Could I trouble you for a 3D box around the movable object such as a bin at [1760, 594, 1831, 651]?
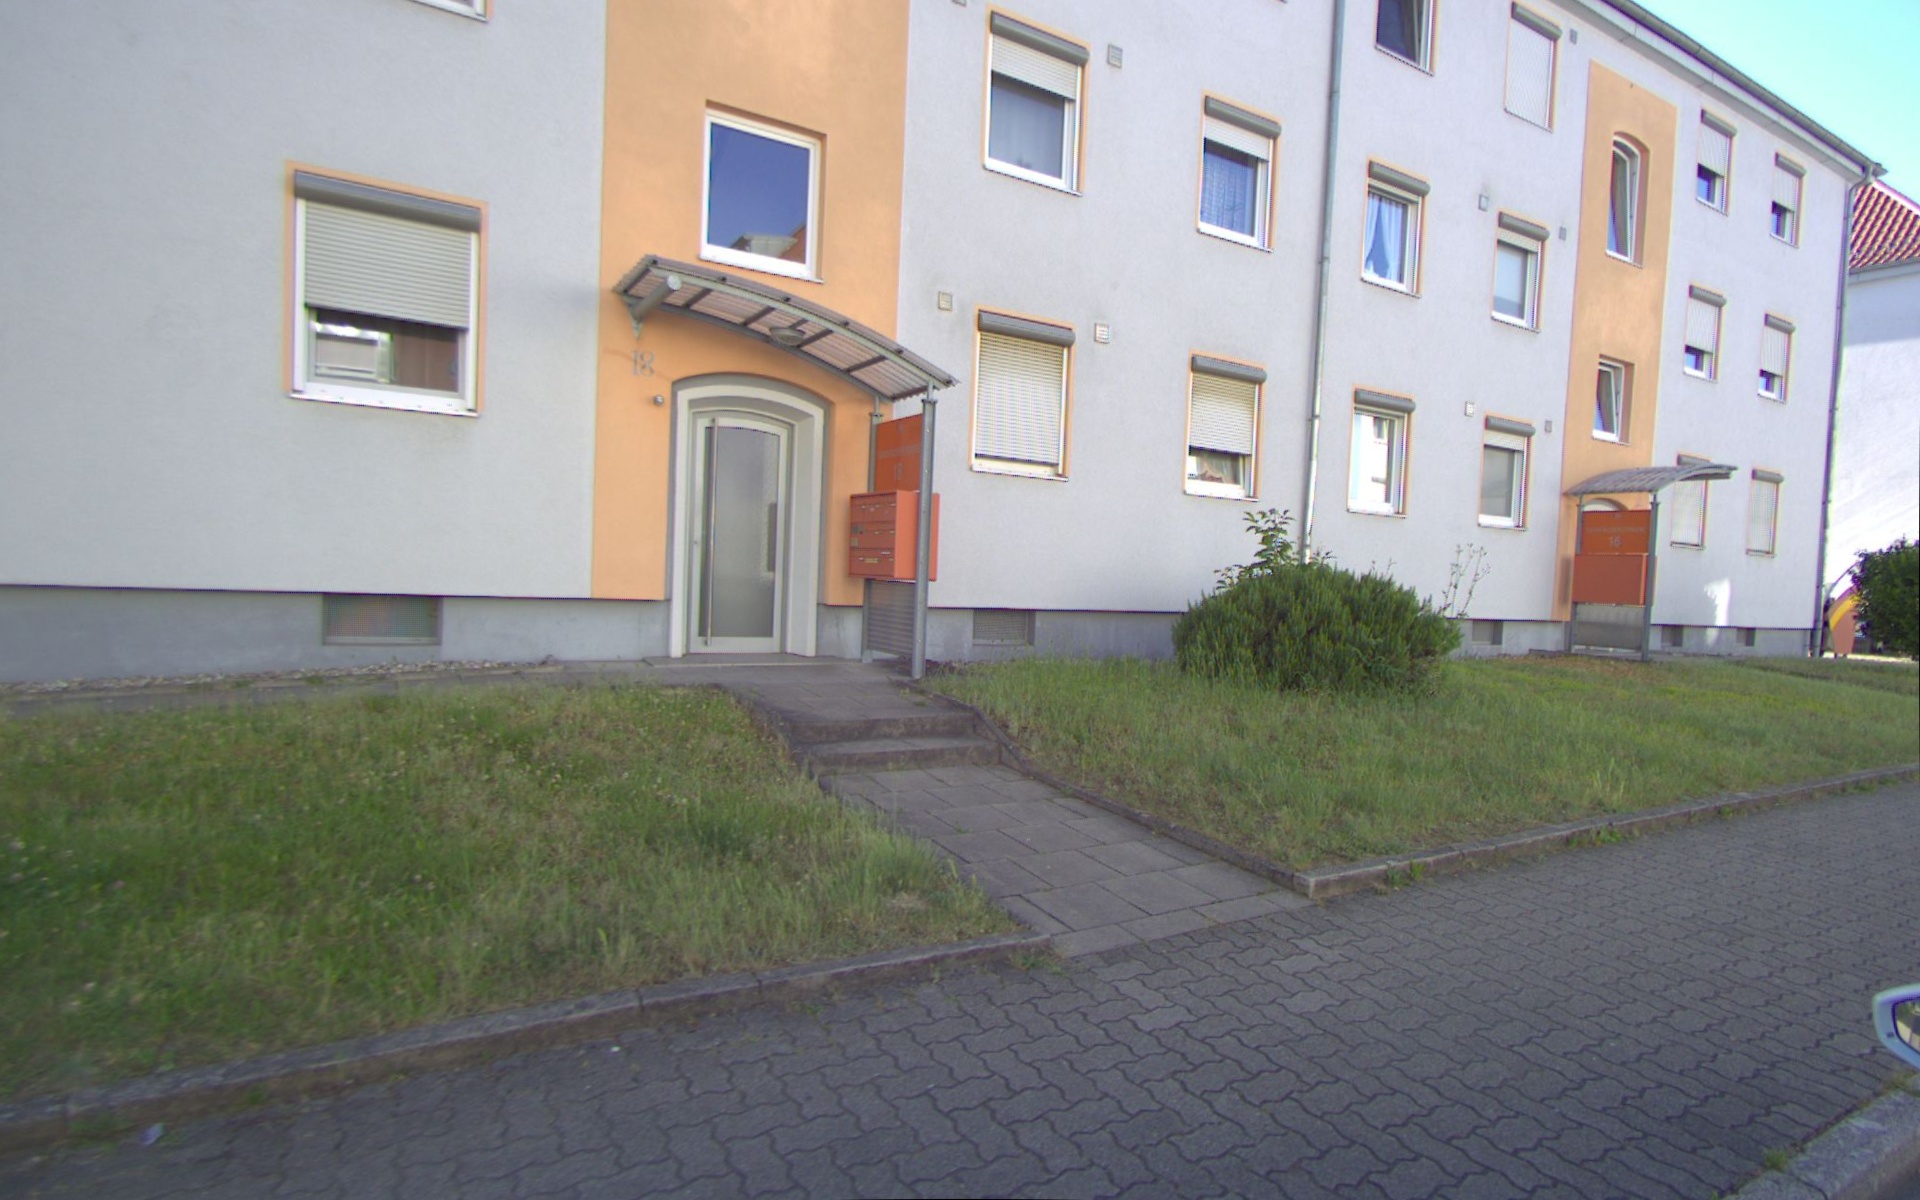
[{"bbox_3d":[21.479,0.572,25.839,0.899,1.374,1.238,0,2,-42],"label":"movable object such as a bin"}]
